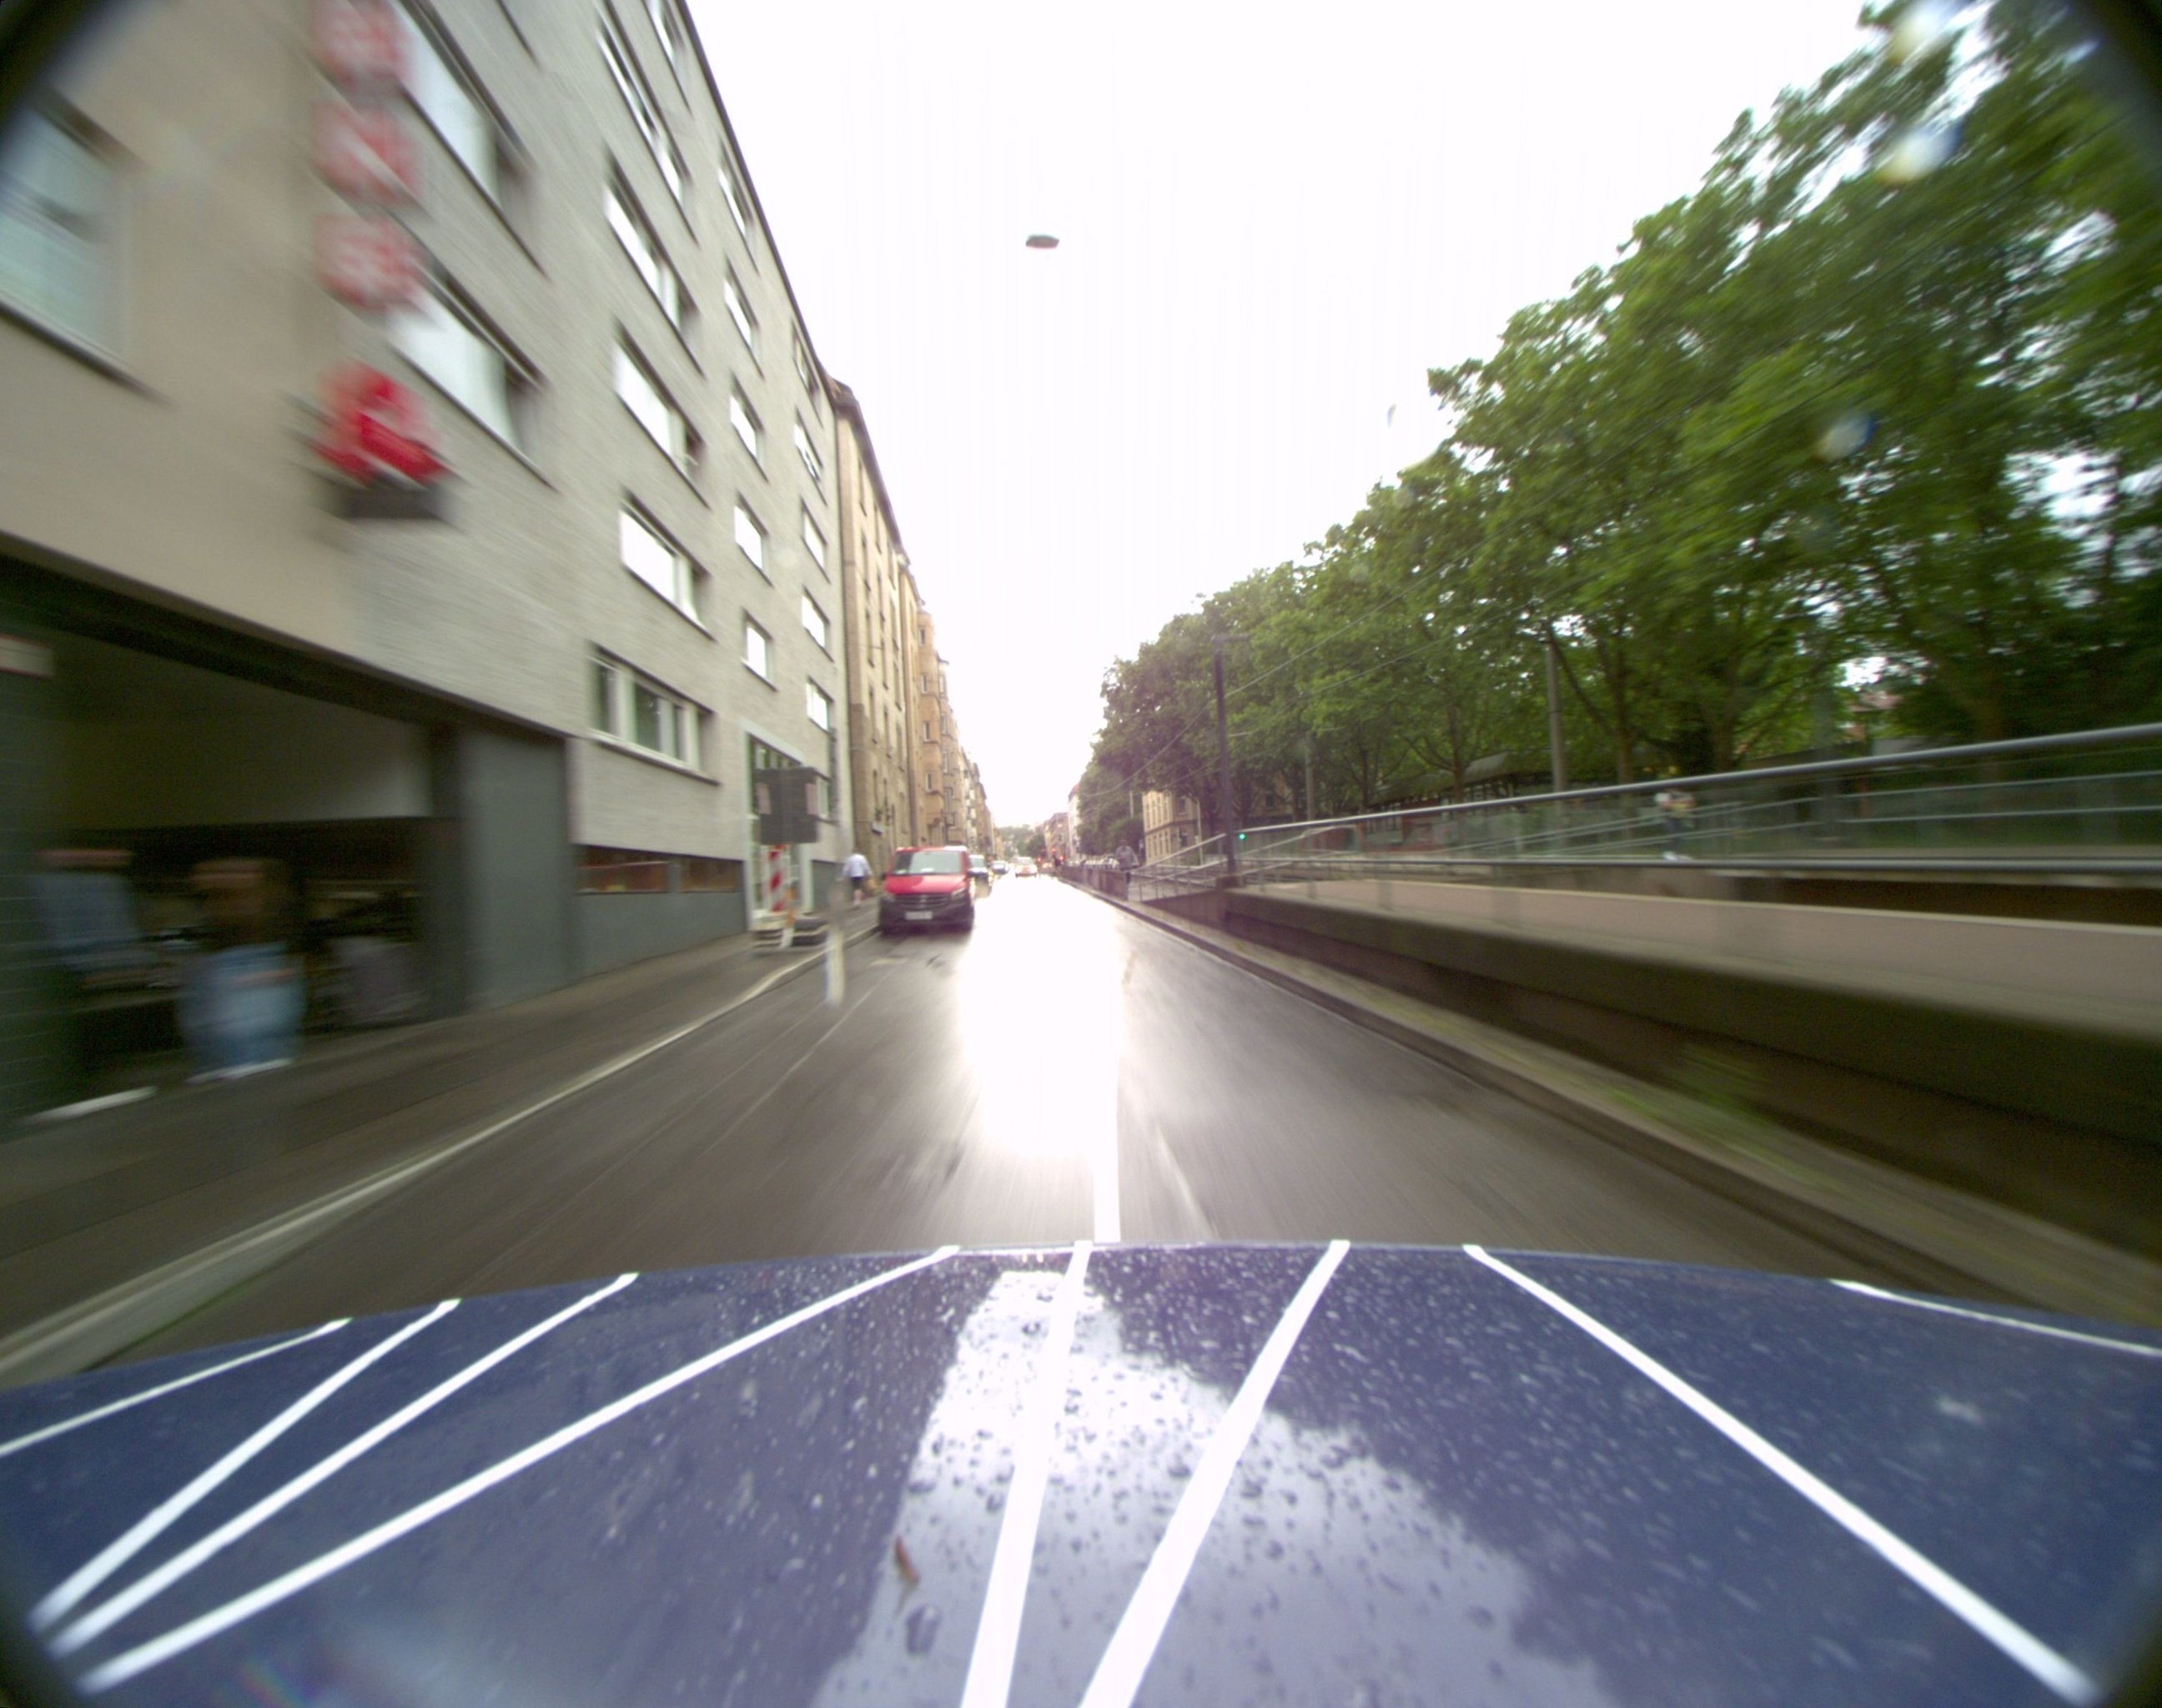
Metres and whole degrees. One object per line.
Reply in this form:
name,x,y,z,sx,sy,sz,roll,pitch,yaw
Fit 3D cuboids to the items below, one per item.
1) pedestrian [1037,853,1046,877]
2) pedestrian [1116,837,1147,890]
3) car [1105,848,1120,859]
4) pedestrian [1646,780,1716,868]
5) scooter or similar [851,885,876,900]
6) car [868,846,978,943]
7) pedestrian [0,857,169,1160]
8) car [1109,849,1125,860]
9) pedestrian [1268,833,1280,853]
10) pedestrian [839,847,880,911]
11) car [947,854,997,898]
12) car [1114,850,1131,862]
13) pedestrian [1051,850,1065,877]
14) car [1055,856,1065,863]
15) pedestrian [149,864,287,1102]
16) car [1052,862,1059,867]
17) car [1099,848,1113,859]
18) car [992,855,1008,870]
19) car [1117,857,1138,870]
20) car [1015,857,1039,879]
pedestrian,-2.738,0.773,52.674,0.481,1.629,0.433,-3,0,-8
pedestrian,1.763,0.318,26.645,0.861,1.788,0.787,-3,0,-6
car,4.451,-0.090,107.308,1.484,1.392,3.281,-3,-1,-7
pedestrian,11.928,-0.582,15.128,0.659,1.652,0.688,-4,-3,-5
scooter or similar,-7.693,1.376,26.839,0.859,0.503,0.258,-2,1,25
car,-3.465,0.794,17.662,1.981,1.827,5.242,-3,0,-7
pedestrian,-6.127,0.891,4.583,0.462,1.710,0.516,-3,2,4
car,4.798,0.089,101.533,1.646,1.392,3.515,-3,-1,-6
pedestrian,17.825,-1.033,70.255,0.861,1.788,0.872,-3,0,2
pedestrian,-6.356,0.710,21.849,0.854,1.747,0.837,-4,1,-5
car,-4.702,0.926,33.238,1.771,1.698,4.497,-3,0,-4
car,5.321,0.216,97.596,1.646,1.392,3.515,-3,-1,-6
pedestrian,-1.505,0.636,50.103,0.652,1.694,0.662,-3,0,18
car,-4.545,1.269,167.100,1.688,1.468,3.310,-4,0,-10
pedestrian,-6.254,0.904,5.528,0.482,1.635,0.331,-4,1,-21
car,-6.673,2.671,200.094,1.572,1.159,2.908,-3,-1,-8
car,3.668,-0.039,112.660,1.484,1.440,3.498,-3,-1,-7
car,-9.193,1.006,86.345,1.746,1.576,3.998,-2,-1,-6
car,5.664,1.142,93.131,1.892,1.468,3.805,-4,0,-4
car,-4.154,1.085,57.953,1.621,1.592,4.065,-2,-1,-6
